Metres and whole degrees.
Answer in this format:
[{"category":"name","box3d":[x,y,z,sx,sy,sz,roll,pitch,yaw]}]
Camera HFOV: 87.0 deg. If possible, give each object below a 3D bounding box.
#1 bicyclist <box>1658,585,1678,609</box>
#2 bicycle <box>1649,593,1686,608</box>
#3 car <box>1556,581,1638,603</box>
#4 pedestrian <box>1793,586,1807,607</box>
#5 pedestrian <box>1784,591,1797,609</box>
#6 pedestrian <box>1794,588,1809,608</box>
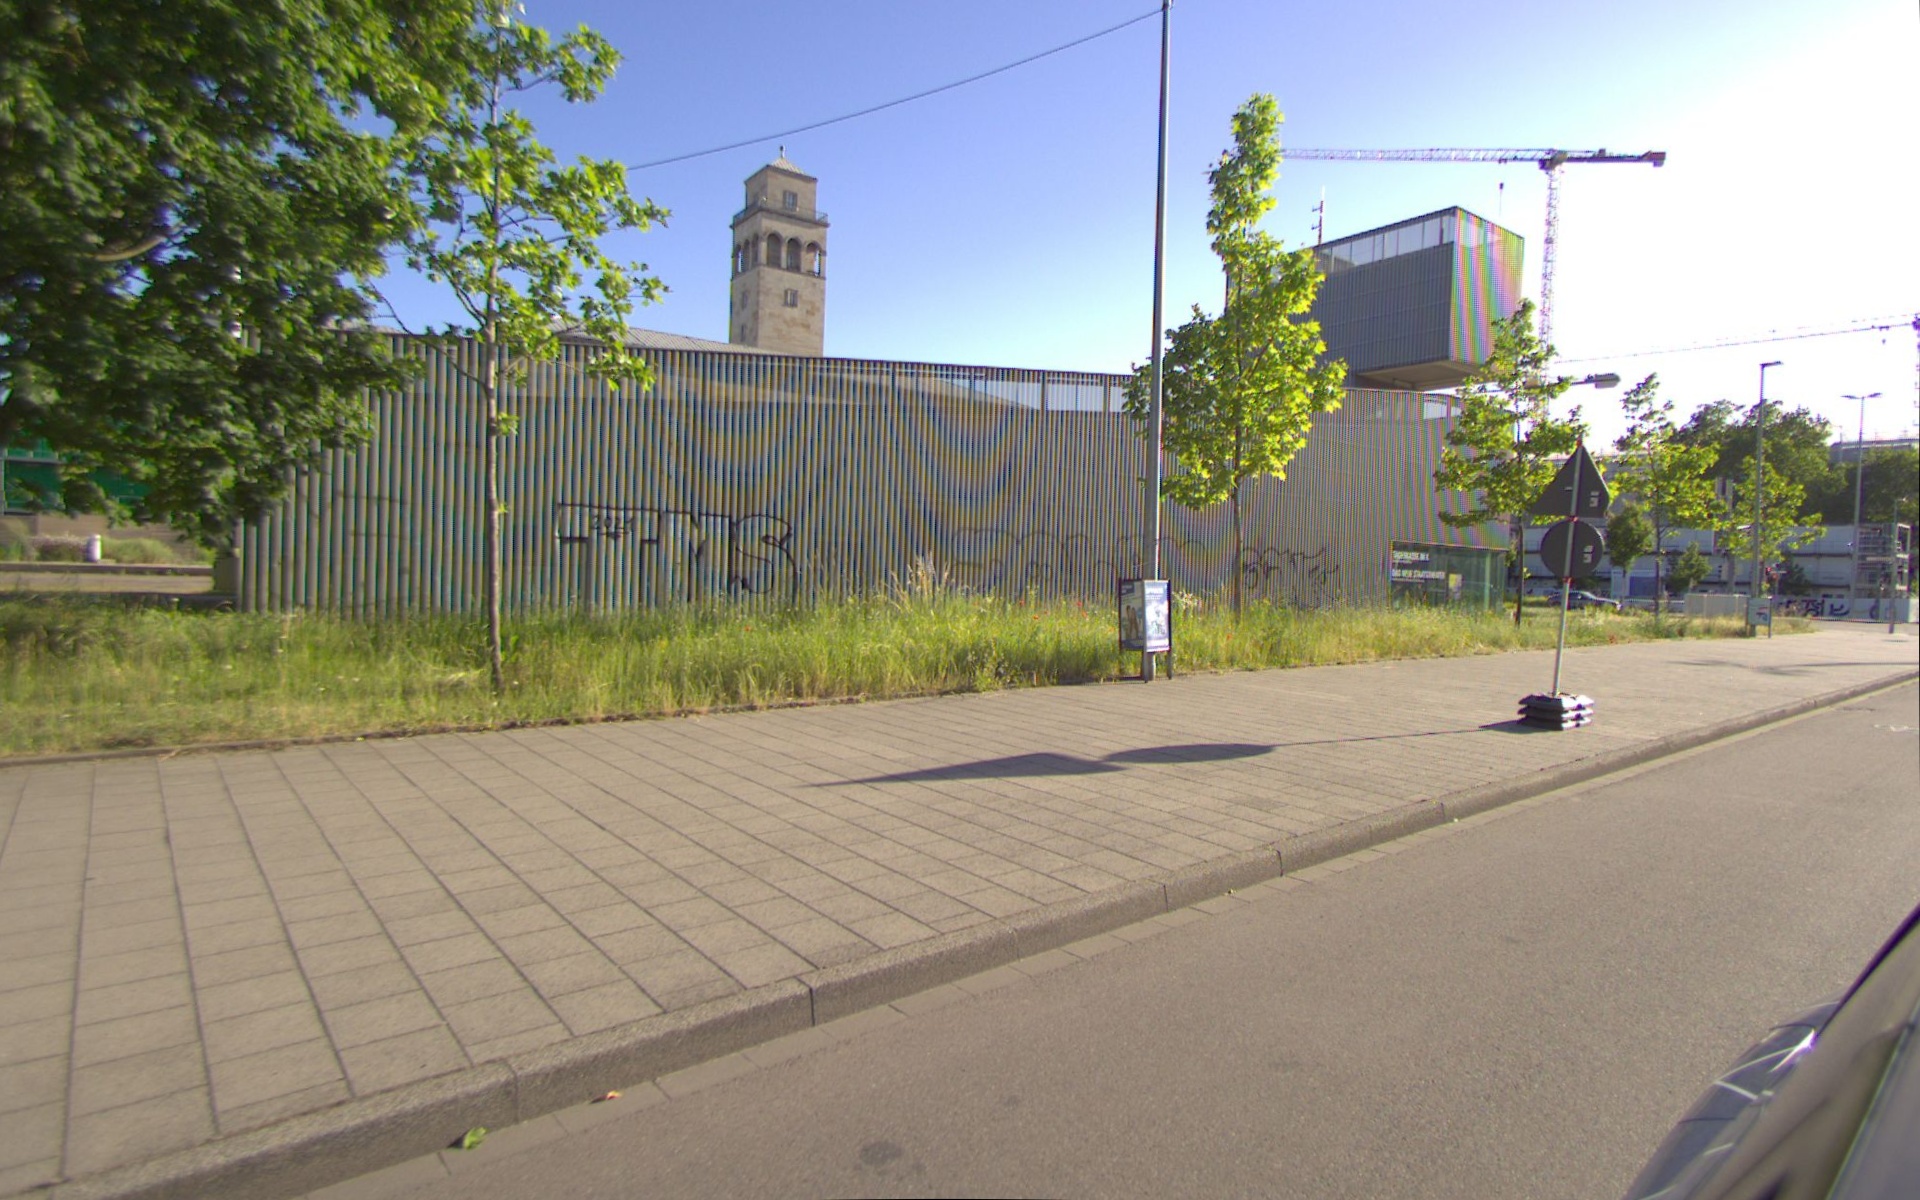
[{"category":"bicyclist","box3d":[46.421,-0.184,66.392,0.614,1.522,0.935,-1,2,-44]},{"category":"bicycle","box3d":[46.421,0.025,66.388,0.614,0.920,1.906,-1,3,-44]},{"category":"car","box3d":[44.758,-0.599,71.197,1.742,1.368,4.530,-1,3,-33]},{"category":"pedestrian","box3d":[68.878,-0.262,82.961,0.824,1.701,0.655,1,1,-34]},{"category":"pedestrian","box3d":[67.333,0.001,82.030,0.592,1.471,0.655,1,1,-34]},{"category":"pedestrian","box3d":[68.252,-0.180,82.062,0.824,1.608,0.655,1,1,-34]}]
